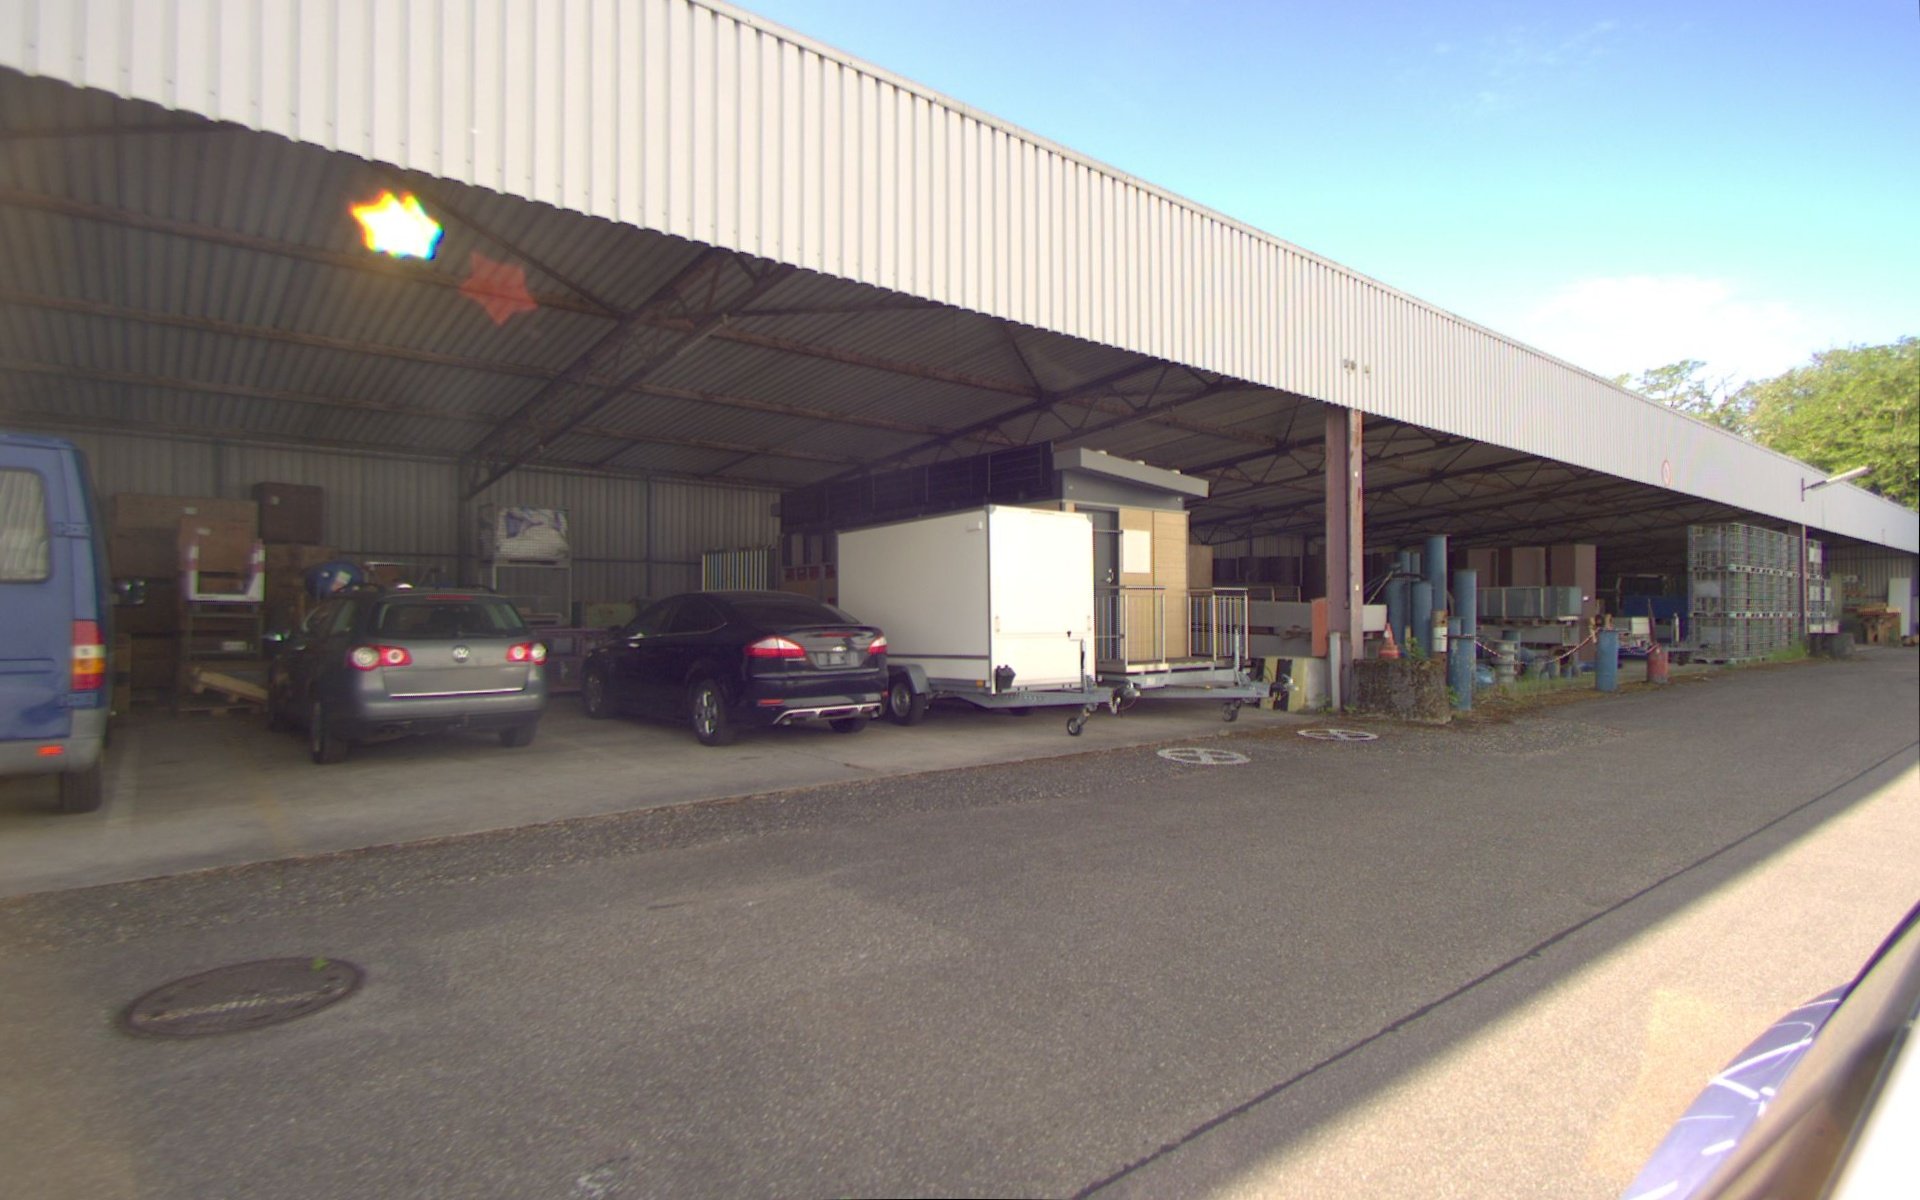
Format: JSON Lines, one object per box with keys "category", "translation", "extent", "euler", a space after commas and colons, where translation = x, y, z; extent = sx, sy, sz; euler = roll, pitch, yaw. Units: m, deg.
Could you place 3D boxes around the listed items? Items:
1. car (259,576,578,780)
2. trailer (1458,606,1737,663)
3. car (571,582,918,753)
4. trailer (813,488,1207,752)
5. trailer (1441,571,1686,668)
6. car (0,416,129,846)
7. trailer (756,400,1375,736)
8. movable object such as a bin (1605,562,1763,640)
{"category": "car", "translation": [-5.313, 0.583, 9.679], "extent": [1.809, 1.533, 3.969], "euler": [0, 0, -42]}
{"category": "trailer", "translation": [16.085, 0.802, 25.857], "extent": [1.940, 1.200, 5.739], "euler": [0, 1, -40]}
{"category": "car", "translation": [-2.510, 0.600, 11.026], "extent": [1.838, 1.490, 4.253], "euler": [1, -1, -42]}
{"category": "trailer", "translation": [0.342, 0.144, 11.491], "extent": [2.010, 2.371, 4.528], "euler": [0, 1, -38]}
{"category": "trailer", "translation": [13.834, 0.370, 23.432], "extent": [2.123, 2.015, 4.435], "euler": [0, 1, -37]}
{"category": "car", "translation": [-7.257, 0.176, 7.160], "extent": [2.114, 2.310, 5.342], "euler": [0, 0, -40]}
{"category": "trailer", "translation": [0.609, -0.381, 15.084], "extent": [2.750, 3.385, 10.292], "euler": [1, 0, -38]}
{"category": "movable object such as a bin", "translation": [28.216, 0.040, 39.538], "extent": [2.452, 2.867, 4.537], "euler": [1, -1, -38]}
